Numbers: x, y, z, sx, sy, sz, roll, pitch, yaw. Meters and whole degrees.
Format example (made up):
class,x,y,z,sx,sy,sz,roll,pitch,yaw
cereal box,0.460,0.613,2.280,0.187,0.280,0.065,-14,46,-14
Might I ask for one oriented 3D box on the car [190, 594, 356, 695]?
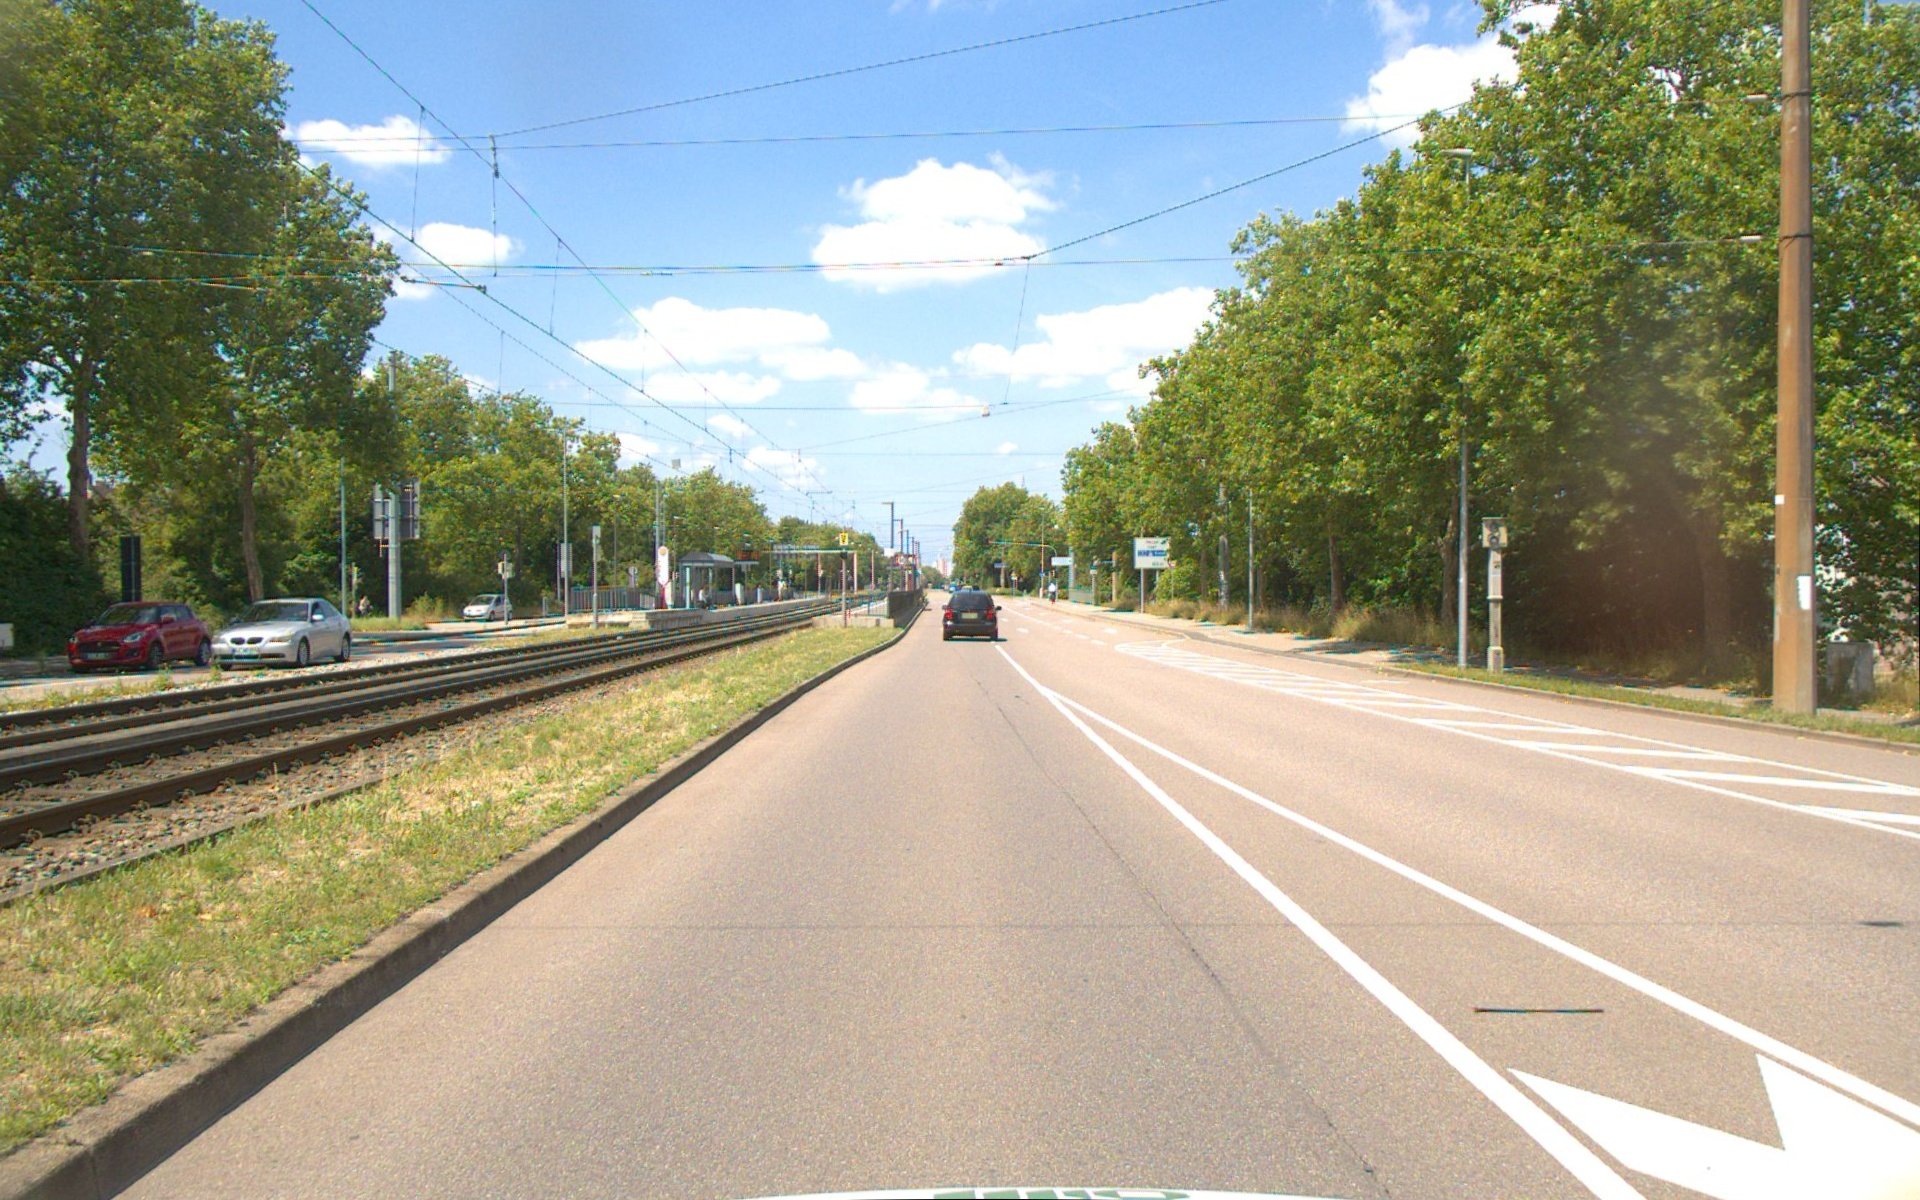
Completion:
class,x,y,z,sx,sy,sz,roll,pitch,yaw
car,-14.696,0.894,35.610,1.953,2.049,3.999,0,0,-1

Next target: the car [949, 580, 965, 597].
class,x,y,z,sx,sy,sz,roll,pitch,yaw
car,-0.335,-1.471,213.775,1.953,2.048,4.000,1,1,-1

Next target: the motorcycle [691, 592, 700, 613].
class,x,y,z,sx,sy,sz,roll,pitch,yaw
motorcycle,-14.480,0.139,90.583,0.277,1.194,0.391,0,0,30

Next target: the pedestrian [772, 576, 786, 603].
class,x,y,z,sx,sy,sz,roll,pitch,yaw
pedestrian,-14.026,-0.812,128.177,0.933,2.048,0.892,1,1,-1

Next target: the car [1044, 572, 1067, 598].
class,x,y,z,sx,sy,sz,roll,pitch,yaw
car,7.922,-1.277,137.576,1.580,2.048,3.439,1,1,-1

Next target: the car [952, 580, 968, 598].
class,x,y,z,sx,sy,sz,roll,pitch,yaw
car,-0.011,-1.361,206.003,1.953,2.048,4.000,1,1,-1

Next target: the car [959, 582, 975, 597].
class,x,y,z,sx,sy,sz,roll,pitch,yaw
car,0.819,-1.270,195.437,1.846,1.668,4.001,3,1,0

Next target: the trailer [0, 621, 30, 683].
class,x,y,z,sx,sy,sz,roll,pitch,yaw
trailer,-17.784,0.940,27.523,1.854,1.062,5.101,1,1,-2

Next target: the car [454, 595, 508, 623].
class,x,y,z,sx,sy,sz,roll,pitch,yaw
car,-28.033,0.513,96.906,1.953,1.601,4.000,0,0,0

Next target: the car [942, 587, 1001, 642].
class,x,y,z,sx,sy,sz,roll,pitch,yaw
car,0.372,0.438,54.153,1.815,1.597,4.389,1,2,0

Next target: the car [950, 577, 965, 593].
class,x,y,z,sx,sy,sz,roll,pitch,yaw
car,-0.379,-2.036,223.493,1.953,2.049,3.999,0,0,-1

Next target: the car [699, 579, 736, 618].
class,x,y,z,sx,sy,sz,roll,pitch,yaw
car,-13.453,-0.124,91.939,1.553,2.048,4.109,1,1,-2

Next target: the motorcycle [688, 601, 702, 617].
class,x,y,z,sx,sy,sz,roll,pitch,yaw
motorcycle,-14.492,0.489,90.550,0.226,0.914,0.882,0,0,30

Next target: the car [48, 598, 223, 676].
class,x,y,z,sx,sy,sz,roll,pitch,yaw
car,-18.218,0.777,36.759,1.953,1.601,3.999,0,0,-1

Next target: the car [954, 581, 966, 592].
class,x,y,z,sx,sy,sz,roll,pitch,yaw
car,0.008,-1.921,238.850,1.643,1.544,4.000,1,2,-1
